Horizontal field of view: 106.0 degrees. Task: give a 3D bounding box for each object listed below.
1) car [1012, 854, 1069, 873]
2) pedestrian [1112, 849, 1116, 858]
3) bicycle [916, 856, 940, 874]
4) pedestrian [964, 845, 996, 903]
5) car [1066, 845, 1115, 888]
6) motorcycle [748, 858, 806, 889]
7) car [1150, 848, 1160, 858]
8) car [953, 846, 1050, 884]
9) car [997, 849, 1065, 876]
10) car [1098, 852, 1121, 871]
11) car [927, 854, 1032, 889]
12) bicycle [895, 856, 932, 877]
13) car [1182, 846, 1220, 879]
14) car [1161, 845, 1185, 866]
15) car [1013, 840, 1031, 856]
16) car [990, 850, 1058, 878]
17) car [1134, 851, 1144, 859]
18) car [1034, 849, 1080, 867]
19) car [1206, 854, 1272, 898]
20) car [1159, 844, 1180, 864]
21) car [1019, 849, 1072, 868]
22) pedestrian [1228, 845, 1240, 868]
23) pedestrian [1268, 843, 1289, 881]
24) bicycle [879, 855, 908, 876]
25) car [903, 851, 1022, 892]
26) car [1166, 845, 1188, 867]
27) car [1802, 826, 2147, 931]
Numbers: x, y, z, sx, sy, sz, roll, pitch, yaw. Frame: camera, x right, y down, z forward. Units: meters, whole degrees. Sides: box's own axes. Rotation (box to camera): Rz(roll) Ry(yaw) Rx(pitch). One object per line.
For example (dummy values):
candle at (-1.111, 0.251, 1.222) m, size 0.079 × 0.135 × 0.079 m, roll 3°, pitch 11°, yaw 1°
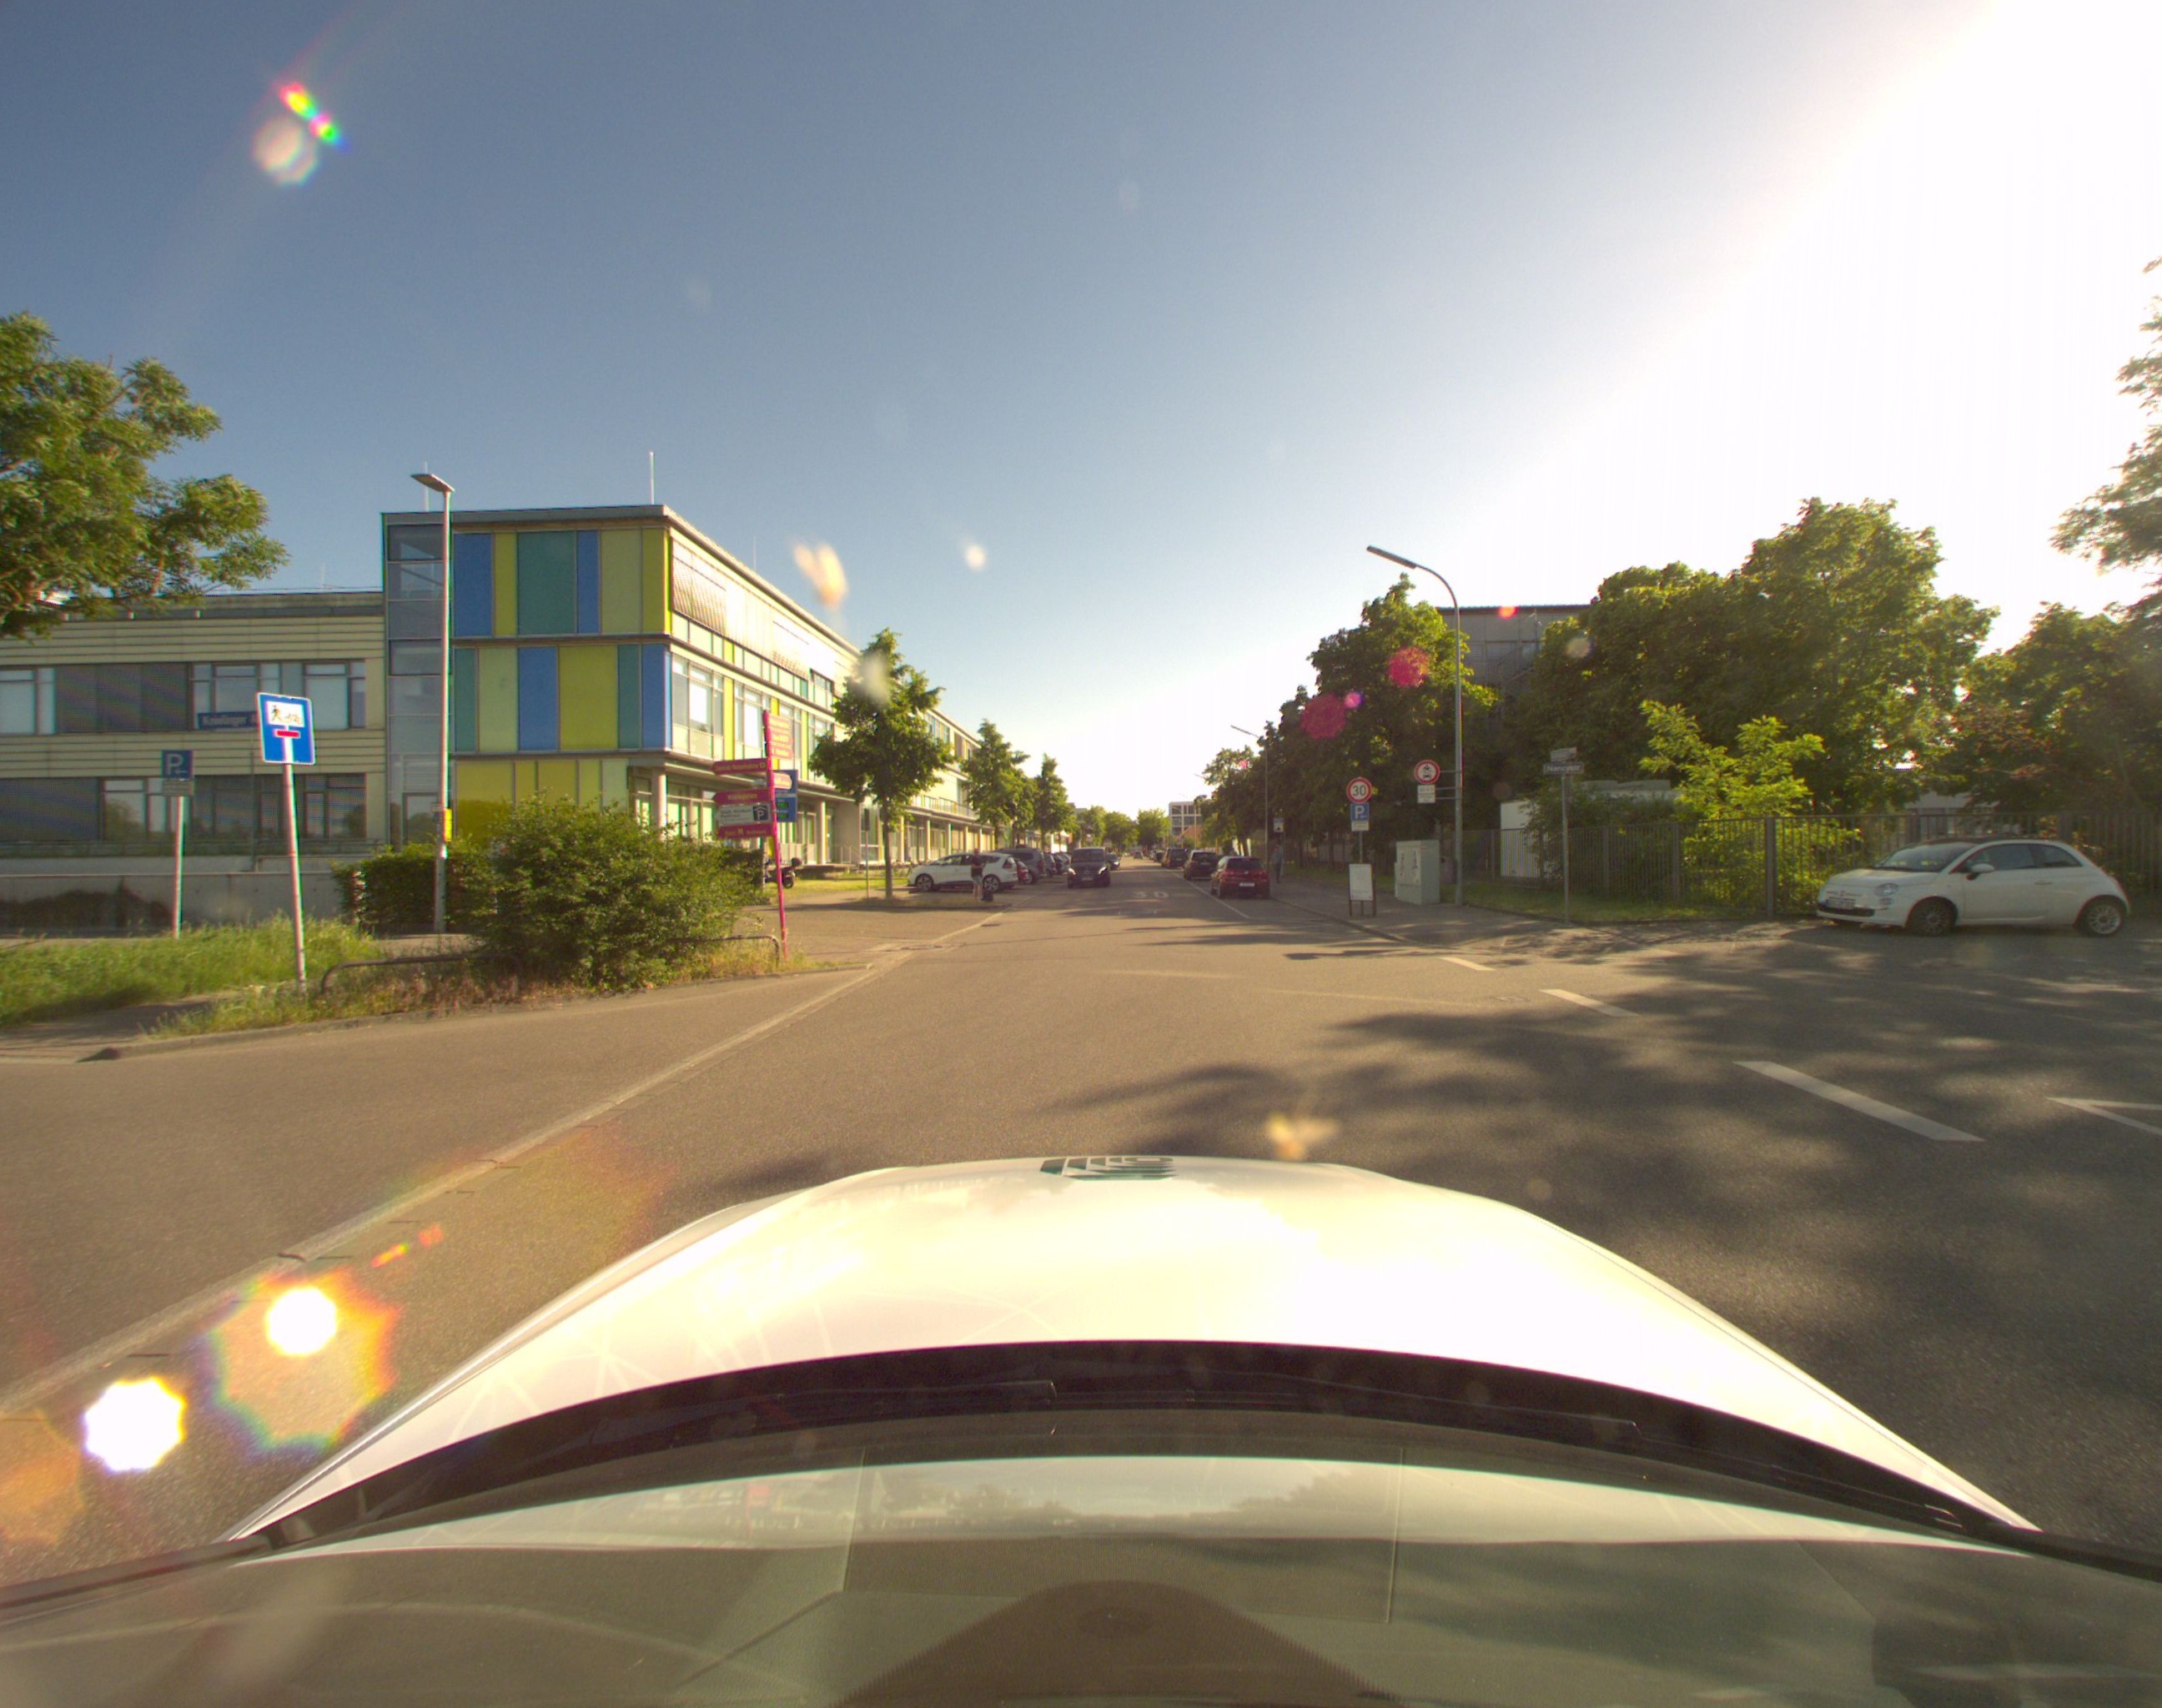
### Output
car at (-2.853, 0.668, 58.081) m, size 3.974 × 1.358 × 1.743 m, roll 1°, pitch 0°, yaw -1°
pedestrian at (5.985, -0.082, 146.115) m, size 0.616 × 1.624 × 0.717 m, roll -2°, pitch 0°, yaw 3°
bicycle at (-9.606, 0.688, 51.238) m, size 0.887 × 1.111 × 1.893 m, roll 1°, pitch 1°, yaw 7°
pedestrian at (-3.288, 0.639, 26.600) m, size 0.853 × 1.842 × 0.827 m, roll 1°, pitch 0°, yaw 5°
car at (0.534, 0.545, 39.340) m, size 1.946 × 1.867 × 5.261 m, roll -3°, pitch 0°, yaw 4°
motorcycle at (-11.788, 0.749, 31.645) m, size 2.036 × 1.149 × 0.499 m, roll 2°, pitch 1°, yaw 1°
car at (11.986, -0.240, 131.629) m, size 1.430 × 1.560 × 3.045 m, roll -1°, pitch 0°, yaw 3°
car at (-4.089, 0.535, 42.312) m, size 4.721 × 1.865 × 1.829 m, roll 1°, pitch 0°, yaw 3°
car at (-3.143, 0.535, 52.234) m, size 4.233 × 1.611 × 2.048 m, roll 1°, pitch 0°, yaw -1°
car at (2.438, 0.594, 68.747) m, size 1.696 × 1.451 × 4.090 m, roll -2°, pitch 0°, yaw 4°
car at (-4.541, 0.781, 36.790) m, size 4.414 × 1.501 × 1.829 m, roll -1°, pitch 0°, yaw 3°
bicycle at (-9.743, 0.724, 47.446) m, size 0.861 × 1.153 × 2.386 m, roll 1°, pitch 0°, yaw 25°
car at (6.686, 0.434, 45.624) m, size 1.803 × 1.666 × 4.599 m, roll 0°, pitch 1°, yaw 5°
car at (8.678, 0.122, 76.794) m, size 1.985 × 1.823 × 4.202 m, roll -2°, pitch 0°, yaw 3°
car at (-8.189, -0.832, 114.231) m, size 1.985 × 2.014 × 4.003 m, roll -1°, pitch -1°, yaw 3°
car at (-3.408, 0.588, 49.286) m, size 3.974 × 1.607 × 1.872 m, roll 1°, pitch 0°, yaw -1°
car at (10.534, 0.182, 147.564) m, size 1.736 × 1.543 × 4.004 m, roll 0°, pitch 0°, yaw 4°
car at (-2.204, 0.385, 75.021) m, size 4.201 × 1.603 × 1.872 m, roll 1°, pitch 0°, yaw -1°
car at (5.642, 0.737, 29.602) m, size 1.712 × 1.454 × 4.656 m, roll 0°, pitch 0°, yaw 3°
car at (9.035, -0.007, 83.037) m, size 1.866 × 1.978 × 4.004 m, roll -2°, pitch 0°, yaw 3°
car at (-2.805, 0.334, 65.048) m, size 4.201 × 1.462 × 1.872 m, roll 1°, pitch 0°, yaw -1°
pedestrian at (11.419, 0.209, 60.658) m, size 0.695 × 1.661 × 0.752 m, roll -4°, pitch 0°, yaw 3°
pedestrian at (9.279, 0.369, 38.251) m, size 0.714 × 1.758 × 0.886 m, roll -3°, pitch 0°, yaw 4°
bicycle at (-11.074, 0.670, 48.104) m, size 0.863 × 1.153 × 1.999 m, roll 1°, pitch 0°, yaw 13°
car at (-4.905, 0.723, 34.052) m, size 4.587 × 1.651 × 1.871 m, roll -1°, pitch 0°, yaw 6°
car at (8.279, 0.190, 70.559) m, size 1.725 × 1.830 × 3.909 m, roll -1°, pitch 0°, yaw 4°
car at (13.838, 0.367, 12.792) m, size 3.530 × 1.486 × 1.602 m, roll -1°, pitch 0°, yaw 4°
